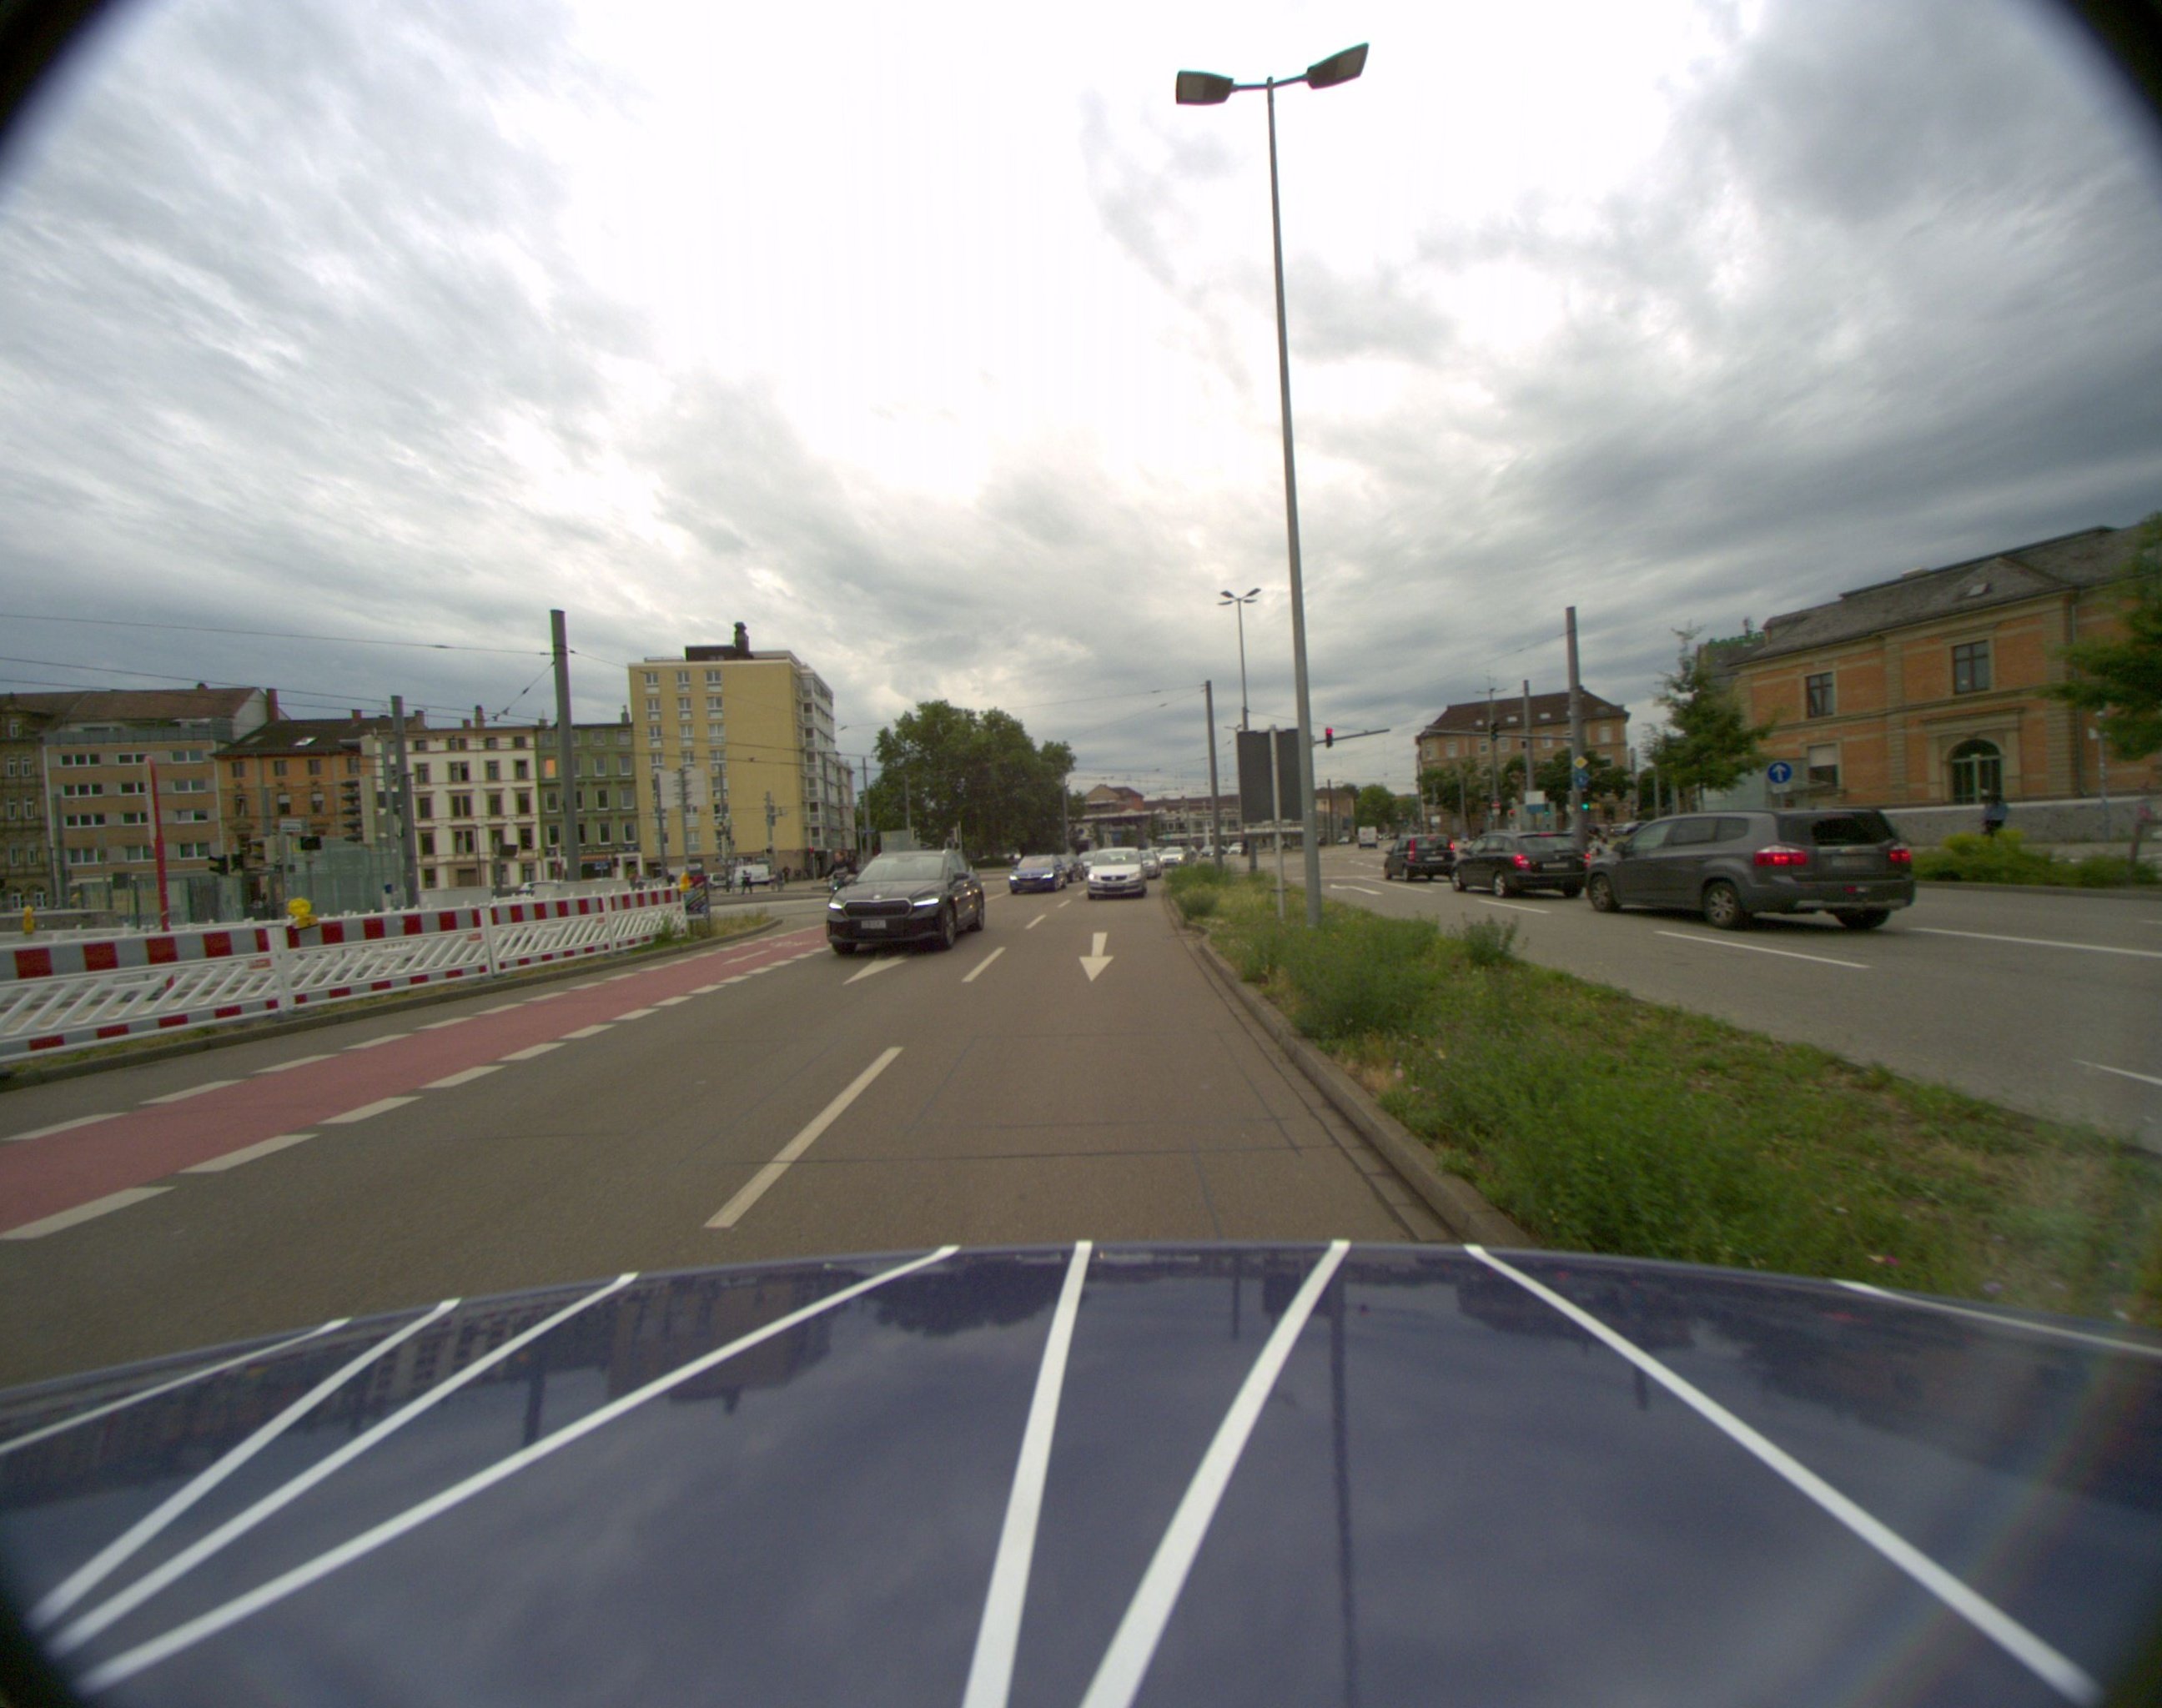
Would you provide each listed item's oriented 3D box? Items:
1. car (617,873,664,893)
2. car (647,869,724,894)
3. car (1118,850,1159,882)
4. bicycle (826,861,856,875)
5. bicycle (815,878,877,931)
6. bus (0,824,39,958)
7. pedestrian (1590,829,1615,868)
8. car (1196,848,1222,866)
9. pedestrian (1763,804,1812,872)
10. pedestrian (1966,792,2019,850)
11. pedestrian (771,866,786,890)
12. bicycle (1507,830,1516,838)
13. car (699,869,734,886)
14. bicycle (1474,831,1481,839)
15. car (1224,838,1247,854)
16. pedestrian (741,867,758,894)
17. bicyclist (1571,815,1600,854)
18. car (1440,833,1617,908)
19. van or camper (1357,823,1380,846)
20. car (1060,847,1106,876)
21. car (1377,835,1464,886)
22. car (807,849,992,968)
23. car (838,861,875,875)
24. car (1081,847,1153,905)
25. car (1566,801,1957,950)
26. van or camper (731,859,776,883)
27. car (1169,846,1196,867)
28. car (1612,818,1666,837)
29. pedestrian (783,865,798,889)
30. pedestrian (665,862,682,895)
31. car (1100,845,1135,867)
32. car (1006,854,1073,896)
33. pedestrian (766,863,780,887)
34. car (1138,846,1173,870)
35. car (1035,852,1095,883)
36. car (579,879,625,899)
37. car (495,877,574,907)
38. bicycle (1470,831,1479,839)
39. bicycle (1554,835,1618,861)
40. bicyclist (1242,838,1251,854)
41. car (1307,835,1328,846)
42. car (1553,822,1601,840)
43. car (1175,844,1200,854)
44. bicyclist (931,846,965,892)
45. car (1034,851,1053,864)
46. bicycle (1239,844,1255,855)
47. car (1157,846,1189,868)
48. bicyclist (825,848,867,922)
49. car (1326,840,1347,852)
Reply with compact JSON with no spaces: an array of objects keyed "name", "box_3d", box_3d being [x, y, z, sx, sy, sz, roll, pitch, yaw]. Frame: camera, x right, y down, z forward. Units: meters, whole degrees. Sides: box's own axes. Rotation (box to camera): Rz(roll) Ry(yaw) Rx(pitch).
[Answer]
[{"name":"car","box_3d":[-39.064,2.550,67.319,3.729,1.573,1.895,-3,1,29]},{"name":"car","box_3d":[-28.672,1.984,55.200,4.444,1.477,1.999,-3,1,-4]},{"name":"car","box_3d":[2.933,0.541,38.046,1.809,1.398,3.984,-3,1,7]},{"name":"bicycle","box_3d":[-24.966,1.444,79.011,2.783,1.369,0.903,-3,1,-5]},{"name":"bicycle","box_3d":[-5.456,1.152,17.786,0.626,1.049,2.126,-3,1,3]},{"name":"bus","box_3d":[-31.265,1.198,14.576,3.018,3.249,13.066,-2,1,38]},{"name":"pedestrian","box_3d":[21.403,-0.222,31.190,0.579,1.542,0.750,-2,1,10]},{"name":"car","box_3d":[15.222,0.334,90.243,1.995,2.002,4.006,-3,1,23]},{"name":"pedestrian","box_3d":[21.209,-0.466,22.833,0.820,1.969,0.659,-2,1,11]},{"name":"pedestrian","box_3d":[27.779,-0.989,23.172,0.748,1.724,0.686,-2,1,11]},{"name":"pedestrian","box_3d":[-21.126,1.676,52.992,0.769,1.602,0.949,-4,1,-30]},{"name":"bicycle","box_3d":[54.854,-2.576,96.838,0.753,1.024,2.400,-3,1,25]},{"name":"car","box_3d":[-33.389,2.150,69.491,1.739,1.409,3.728,-4,2,-43]},{"name":"bicycle","box_3d":[51.495,-2.478,98.682,0.753,1.024,2.400,-3,1,25]},{"name":"car","box_3d":[20.752,-1.128,101.707,1.995,2.002,4.006,-3,1,26]},{"name":"pedestrian","box_3d":[-20.769,1.648,47.549,0.785,1.634,0.902,-4,1,-30]},{"name":"bicyclist","box_3d":[21.999,-0.855,33.155,0.814,1.646,0.795,-2,-1,15]},{"name":"car","box_3d":[10.041,0.303,17.508,1.874,1.499,4.481,-1,1,7]},{"name":"van or camper","box_3d":[33.630,-2.314,88.878,2.282,2.513,5.580,-2,1,19]},{"name":"car","box_3d":[0.193,0.417,44.994,1.707,1.474,3.937,-4,0,14]},{"name":"car","box_3d":[11.059,0.182,25.026,1.621,1.507,3.666,-2,1,8]},{"name":"car","box_3d":[-2.923,0.779,13.357,1.908,1.648,4.515,-3,0,3]},{"name":"car","box_3d":[-26.266,1.631,88.912,4.001,1.455,1.998,-3,1,-14]},{"name":"car","box_3d":[1.267,0.609,24.231,1.862,1.609,5.064,-2,0,7]},{"name":"car","box_3d":[9.527,0.237,11.332,1.874,1.715,4.713,-2,1,5]},{"name":"van or camper","box_3d":[-30.193,1.581,70.010,2.176,1.967,5.452,-4,1,-40]},{"name":"car","box_3d":[10.414,0.231,77.881,1.996,2.002,4.004,-3,1,16]},{"name":"car","box_3d":[58.784,-2.763,80.042,4.928,1.704,2.159,-3,1,-21]},{"name":"pedestrian","box_3d":[-20.317,1.606,53.133,0.785,1.593,0.895,-4,1,-30]},{"name":"pedestrian","box_3d":[-24.552,1.460,45.805,0.785,1.901,0.902,-4,1,-30]},{"name":"car","box_3d":[2.825,0.141,57.954,1.997,1.499,4.003,-3,1,12]},{"name":"car","box_3d":[-1.563,0.776,30.651,1.769,1.428,4.759,-3,0,8]},{"name":"pedestrian","box_3d":[-23.367,1.563,57.699,0.789,1.747,1.047,-3,1,-28]},{"name":"car","box_3d":[6.894,0.345,70.129,1.995,2.002,4.006,-3,1,23]},{"name":"car","box_3d":[-0.728,0.645,38.578,1.768,1.362,4.427,-2,1,16]},{"name":"car","box_3d":[-42.076,3.095,66.733,3.729,1.578,1.739,-3,1,29]},{"name":"car","box_3d":[-38.840,2.686,54.108,3.998,1.740,1.999,-3,1,-4]},{"name":"bicycle","box_3d":[51.168,-2.445,98.847,0.835,1.024,2.400,-3,1,25]},{"name":"bicycle","box_3d":[22.003,-0.249,33.154,2.116,1.022,0.796,-3,-1,15]},{"name":"bicyclist","box_3d":[17.481,-0.833,80.121,0.655,1.630,0.517,-3,1,-14]},{"name":"car","box_3d":[41.074,-2.353,131.924,2.368,1.744,5.138,-3,1,28]},{"name":"car","box_3d":[51.708,-2.391,79.230,4.249,1.602,1.997,-3,1,-21]},{"name":"car","box_3d":[17.914,-0.914,127.804,3.900,1.433,1.734,-3,1,15]},{"name":"bicyclist","box_3d":[-4.944,0.555,28.294,0.789,1.608,0.934,-4,0,21]},{"name":"car","box_3d":[-6.435,0.641,130.324,1.954,1.589,4.229,-3,7,13]},{"name":"bicycle","box_3d":[17.524,-0.513,80.155,1.615,1.064,0.527,-3,1,-14]},{"name":"car","box_3d":[6.723,0.169,55.016,1.971,1.447,4.196,-3,0,10]},{"name":"bicyclist","box_3d":[-5.475,0.712,17.758,0.617,1.680,0.806,-3,0,2]},{"name":"car","box_3d":[49.610,-1.587,147.536,2.368,2.121,5.138,-2,1,34]}]
